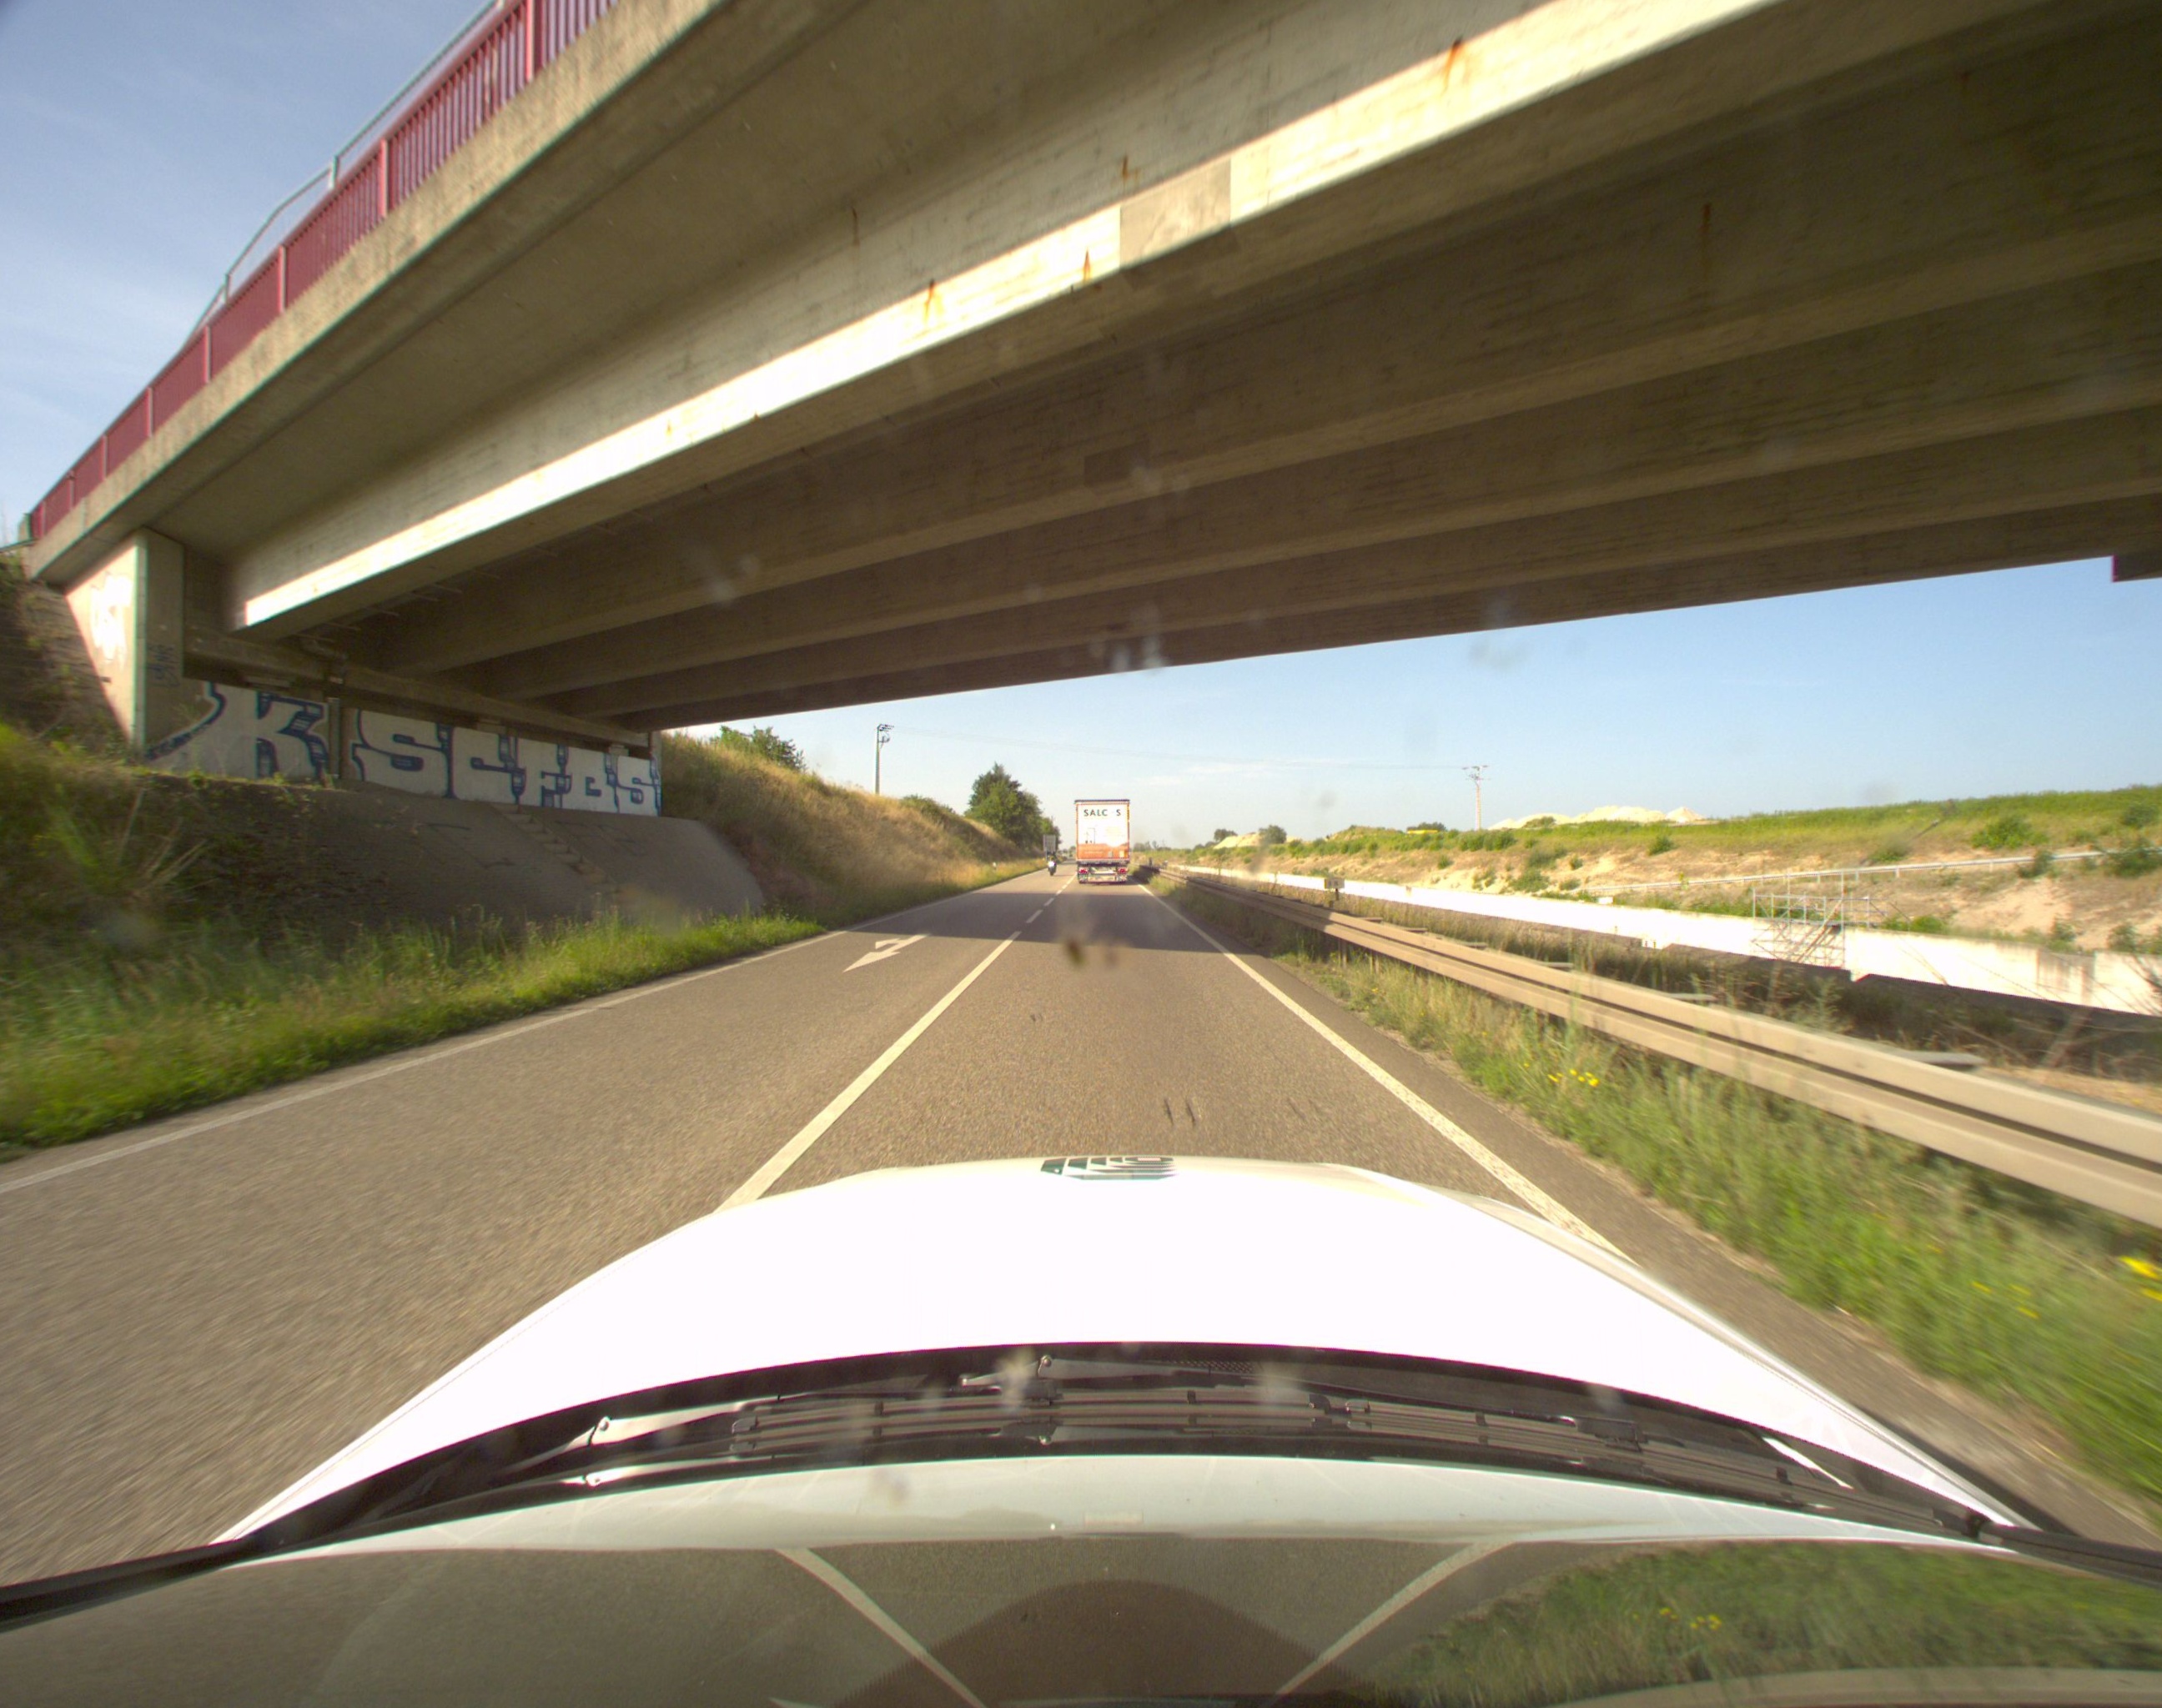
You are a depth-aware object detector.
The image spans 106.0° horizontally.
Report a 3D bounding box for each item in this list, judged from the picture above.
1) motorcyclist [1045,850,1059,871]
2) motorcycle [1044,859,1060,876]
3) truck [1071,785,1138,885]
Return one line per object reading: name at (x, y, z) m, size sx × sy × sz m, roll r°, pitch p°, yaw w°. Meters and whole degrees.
motorcyclist at (-2.030, 0.441, 57.196) m, size 0.877 × 1.451 × 1.283 m, roll -1°, pitch 0°, yaw -1°
motorcycle at (-2.022, 0.950, 57.143) m, size 1.038 × 1.117 × 2.131 m, roll -1°, pitch 0°, yaw -1°
truck at (1.067, -0.901, 42.536) m, size 3.143 × 4.688 × 8.438 m, roll 0°, pitch 0°, yaw -1°
